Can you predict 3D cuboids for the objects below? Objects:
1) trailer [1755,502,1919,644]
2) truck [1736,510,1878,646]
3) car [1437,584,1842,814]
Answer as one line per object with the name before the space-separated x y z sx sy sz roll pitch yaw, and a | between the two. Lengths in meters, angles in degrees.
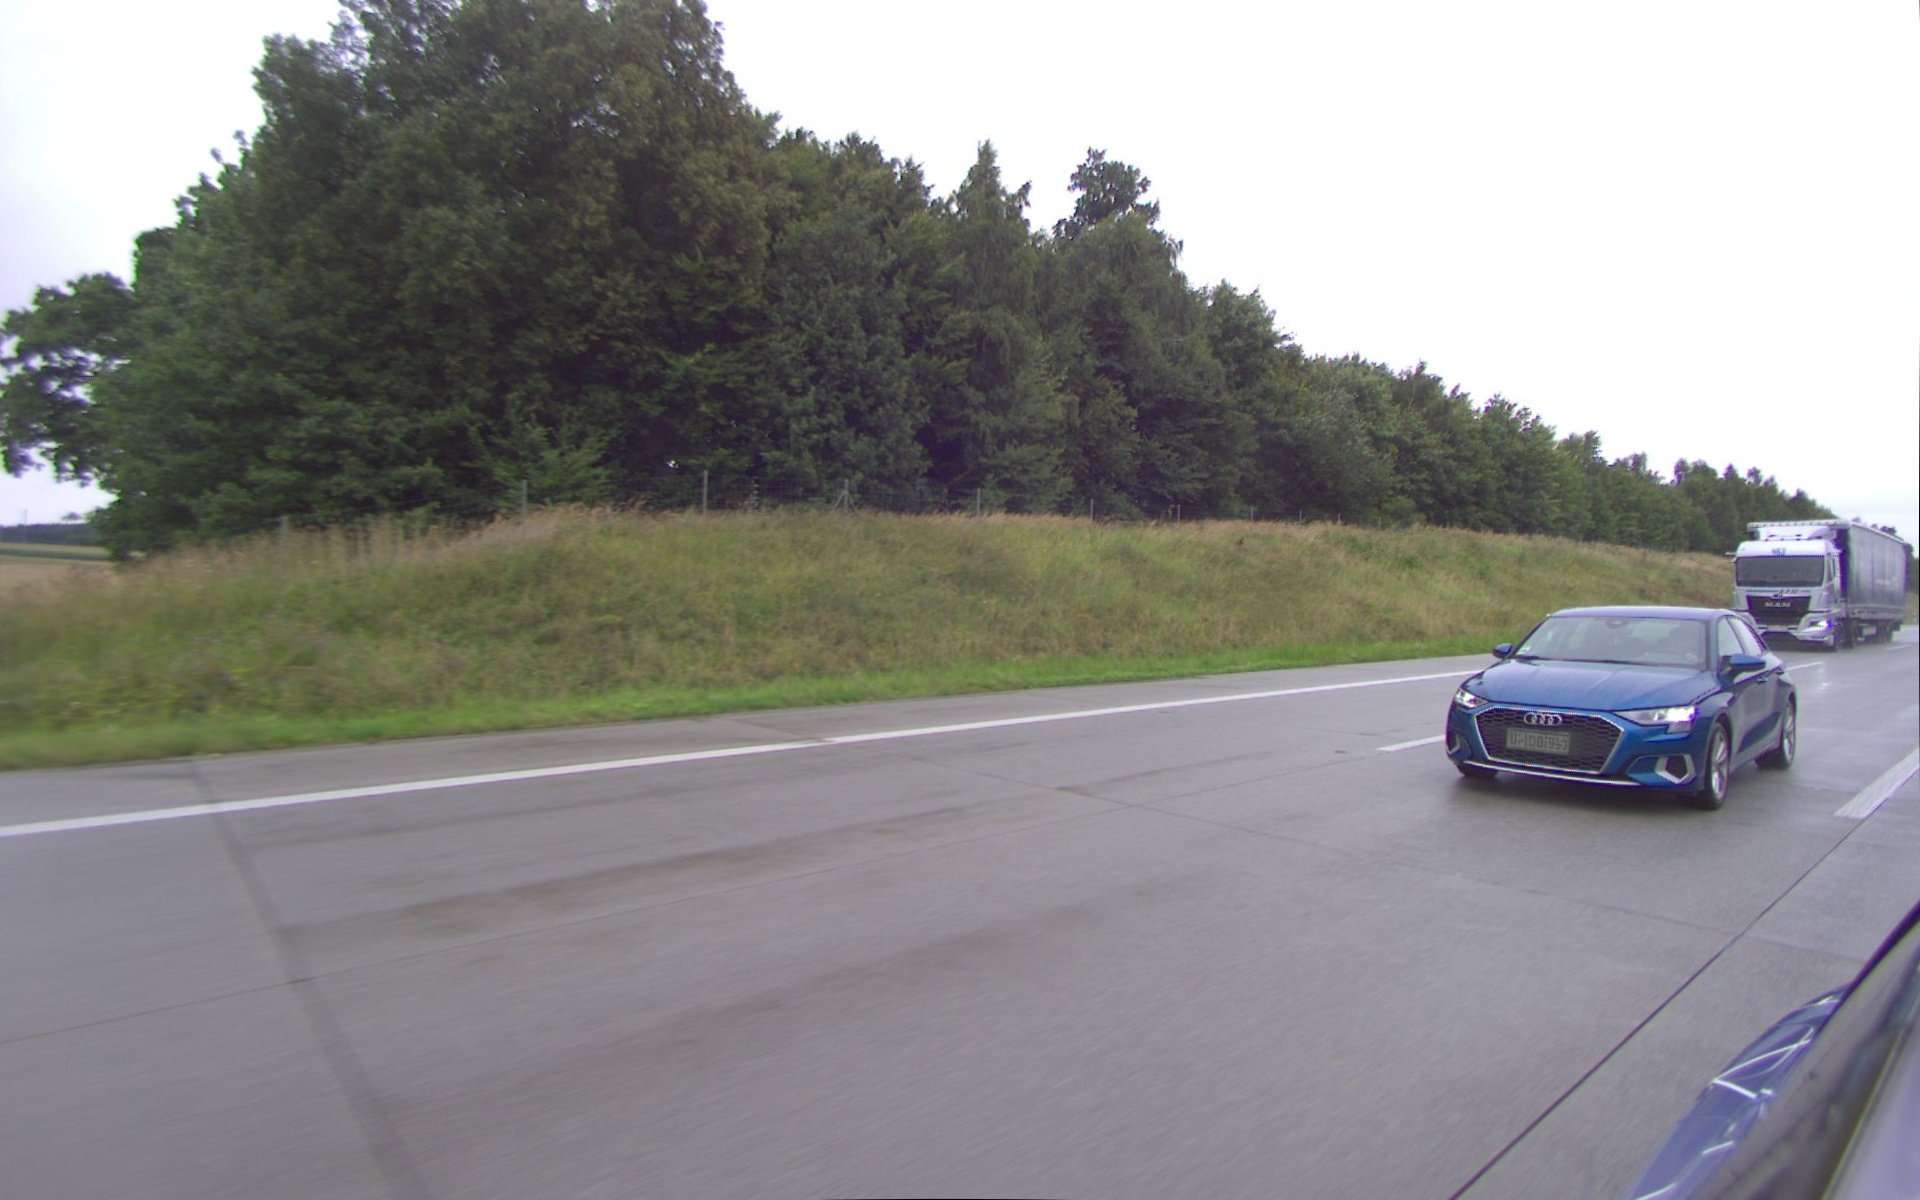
trailer | 33.003 -0.790 37.571 14.937 4.435 2.711 1 -1 -41
truck | 27.393 -0.635 32.670 5.586 4.004 2.641 1 -1 -41
car | 6.026 0.620 8.727 4.590 1.477 1.733 0 1 -41
